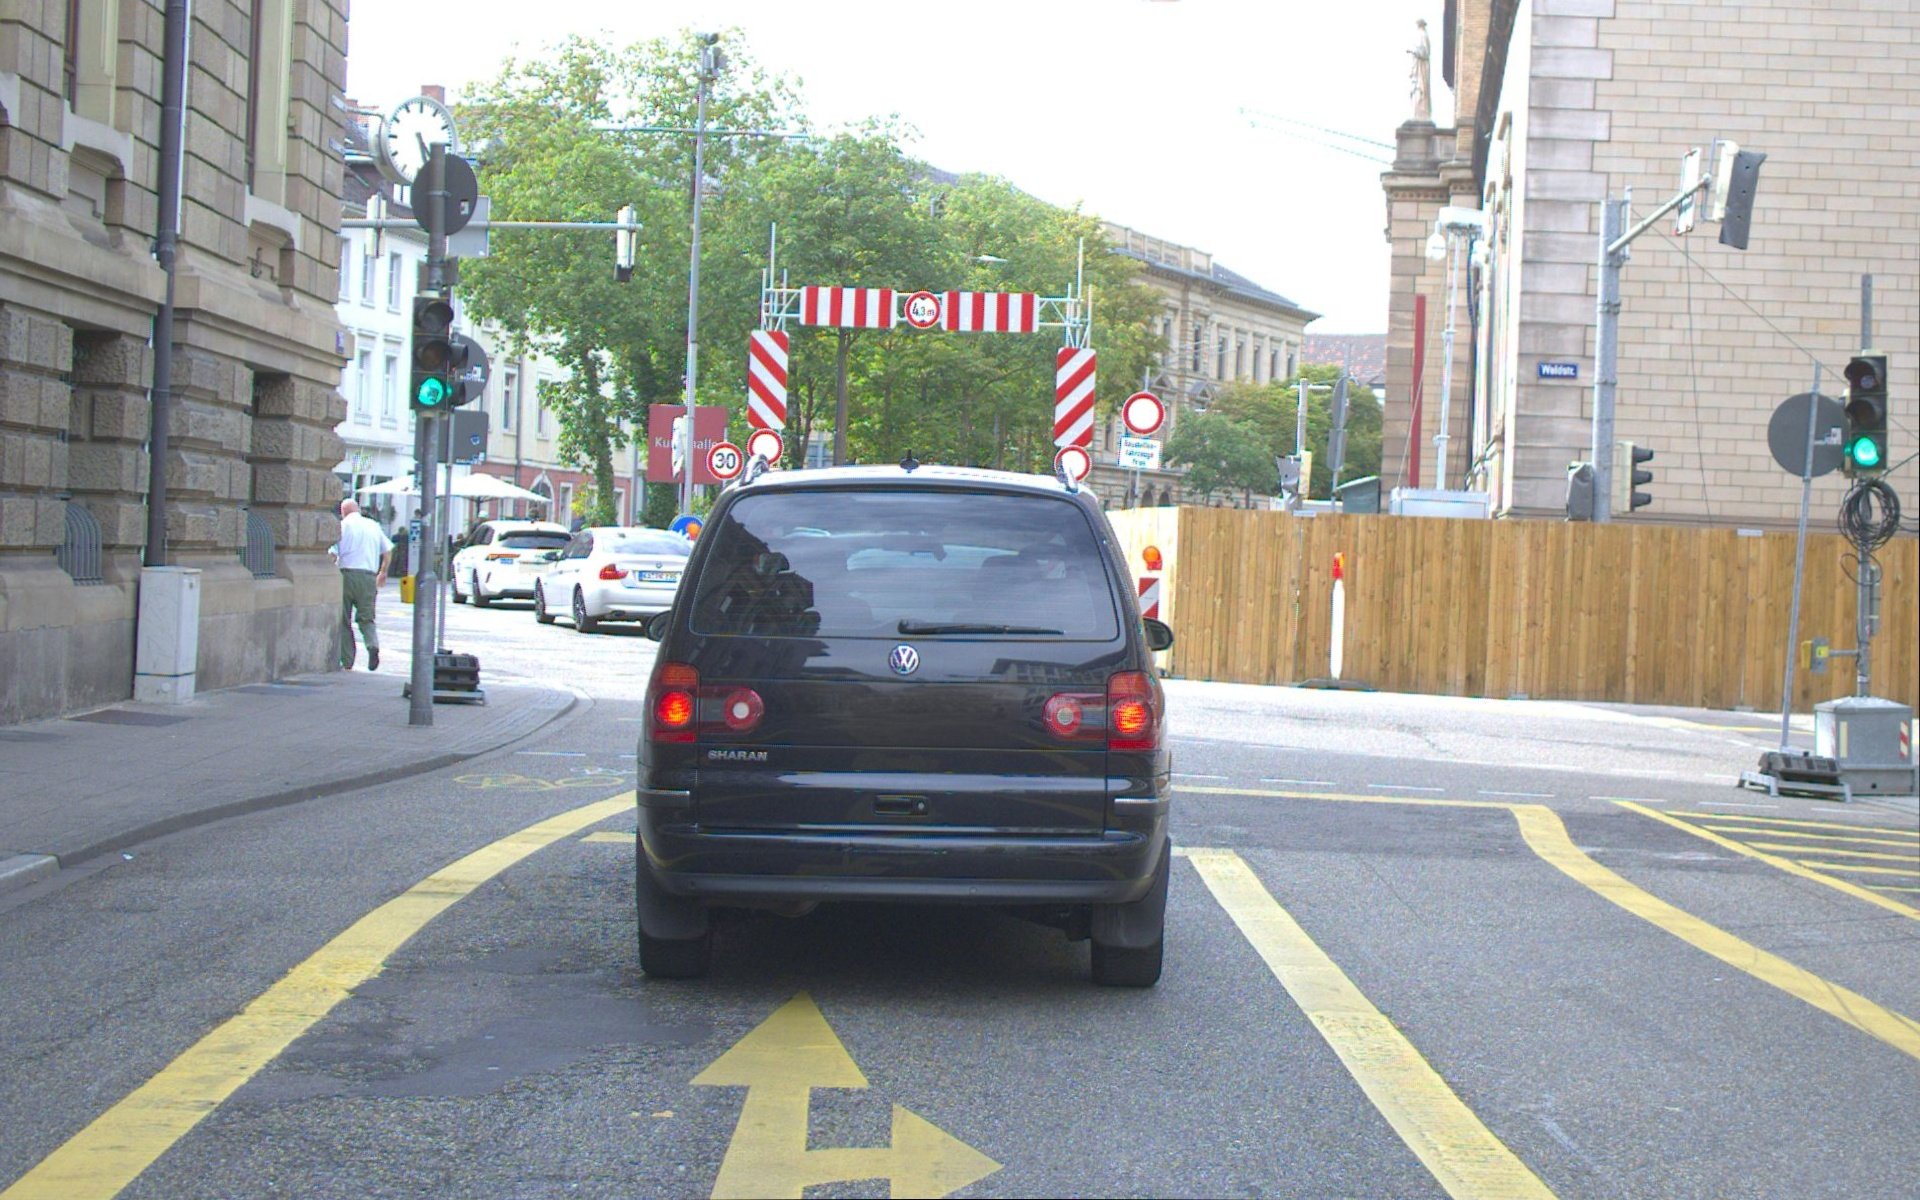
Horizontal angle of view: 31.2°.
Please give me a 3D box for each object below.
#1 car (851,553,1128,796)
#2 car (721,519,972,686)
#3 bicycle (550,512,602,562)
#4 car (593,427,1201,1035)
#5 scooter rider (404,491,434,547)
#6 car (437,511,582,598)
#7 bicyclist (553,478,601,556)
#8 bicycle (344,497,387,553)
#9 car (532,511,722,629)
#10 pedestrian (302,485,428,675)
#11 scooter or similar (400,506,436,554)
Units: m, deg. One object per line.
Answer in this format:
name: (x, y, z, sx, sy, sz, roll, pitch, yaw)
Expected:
car: (0.125, 0.449, 23.913, 1.678, 1.464, 4.104, 2, 1, -2)
car: (-1.240, -0.013, 35.622, 1.772, 1.580, 4.001, 2, 1, -14)
bicycle: (-8.938, -1.455, 80.146, 0.965, 1.108, 2.790, 2, 1, -2)
car: (-0.141, 0.373, 12.589, 1.790, 1.784, 4.103, 3, 1, 2)
scooter rider: (-14.672, -2.194, 93.226, 0.599, 1.485, 0.679, 2, 1, 4)
car: (-7.361, -0.762, 55.950, 1.649, 1.317, 3.676, 2, 1, -18)
bicyclist: (-8.918, -1.924, 80.100, 0.965, 1.776, 0.986, 2, 1, -2)
bicycle: (-13.916, -1.758, 80.511, 0.925, 1.251, 2.542, 2, 1, -9)
car: (-4.581, -0.437, 46.848, 1.703, 1.496, 4.001, 2, 1, -18)
pedestrian: (-5.943, -0.205, 34.317, 0.792, 1.813, 1.048, 4, 1, -32)
scooter or similar: (-14.693, -1.888, 93.206, 0.599, 1.251, 1.552, 2, 1, 3)
